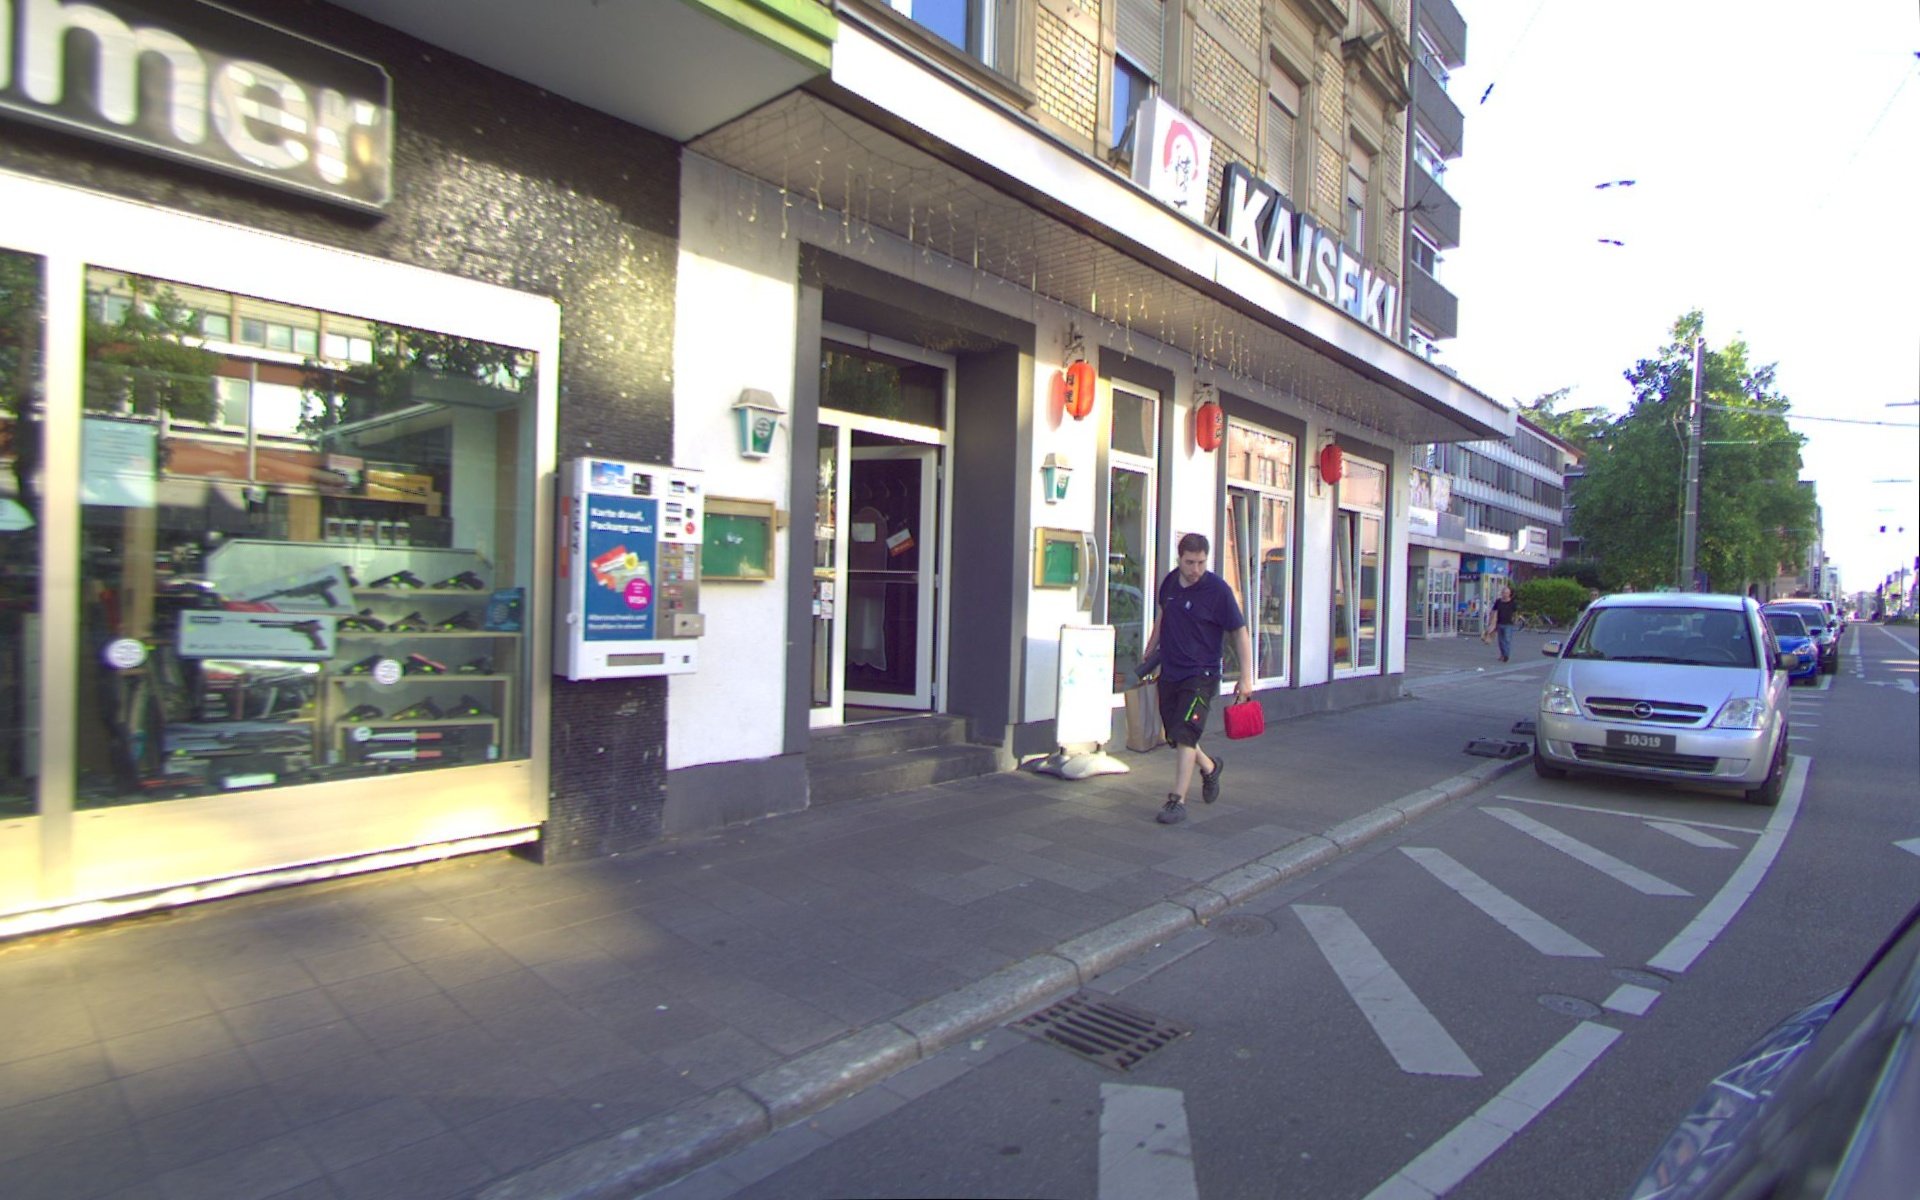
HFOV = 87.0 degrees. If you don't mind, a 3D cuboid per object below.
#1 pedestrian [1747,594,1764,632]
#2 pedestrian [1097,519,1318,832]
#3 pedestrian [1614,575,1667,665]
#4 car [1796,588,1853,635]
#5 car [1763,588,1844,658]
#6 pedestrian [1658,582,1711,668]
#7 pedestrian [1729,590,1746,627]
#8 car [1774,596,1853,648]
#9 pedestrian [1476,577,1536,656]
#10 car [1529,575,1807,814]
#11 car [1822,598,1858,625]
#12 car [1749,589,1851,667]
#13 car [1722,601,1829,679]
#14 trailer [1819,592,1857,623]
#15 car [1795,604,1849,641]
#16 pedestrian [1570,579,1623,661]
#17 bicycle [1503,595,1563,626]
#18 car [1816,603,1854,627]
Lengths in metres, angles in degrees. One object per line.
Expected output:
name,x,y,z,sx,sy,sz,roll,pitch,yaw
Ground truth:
pedestrian,37.111,0.606,47.231,0.493,1.734,0.430,5,3,42
pedestrian,1.607,0.416,6.551,0.946,1.814,1.039,3,2,42
pedestrian,14.994,0.421,22.293,0.793,1.923,1.017,3,1,42
car,40.279,0.512,47.104,1.876,2.047,4.830,1,0,42
car,24.140,0.607,28.906,1.674,1.831,4.185,1,0,41
pedestrian,15.334,0.515,21.409,0.787,1.759,0.931,2,1,42
pedestrian,36.710,0.397,47.761,0.493,1.734,0.430,5,3,42
car,28.196,0.682,33.379,1.786,1.616,4.259,0,0,43
pedestrian,12.624,0.370,23.393,0.900,1.734,1.017,5,3,42
car,6.379,0.631,8.933,1.636,1.635,3.887,1,1,41
car,59.863,0.731,68.845,1.778,1.767,4.408,1,0,41
car,21.027,0.611,25.261,1.819,1.779,4.408,1,1,42
car,17.392,0.774,21.541,1.636,1.511,3.739,-1,-1,41
trailer,62.956,0.523,72.553,1.780,2.176,5.230,1,0,44
car,36.286,0.905,42.632,1.672,1.422,4.106,0,1,41
pedestrian,14.378,0.435,22.848,0.810,1.778,1.017,3,1,42
bicycle,22.961,0.420,40.563,2.009,1.109,0.629,4,2,36
car,55.633,0.951,64.352,1.778,1.446,4.148,1,0,42
